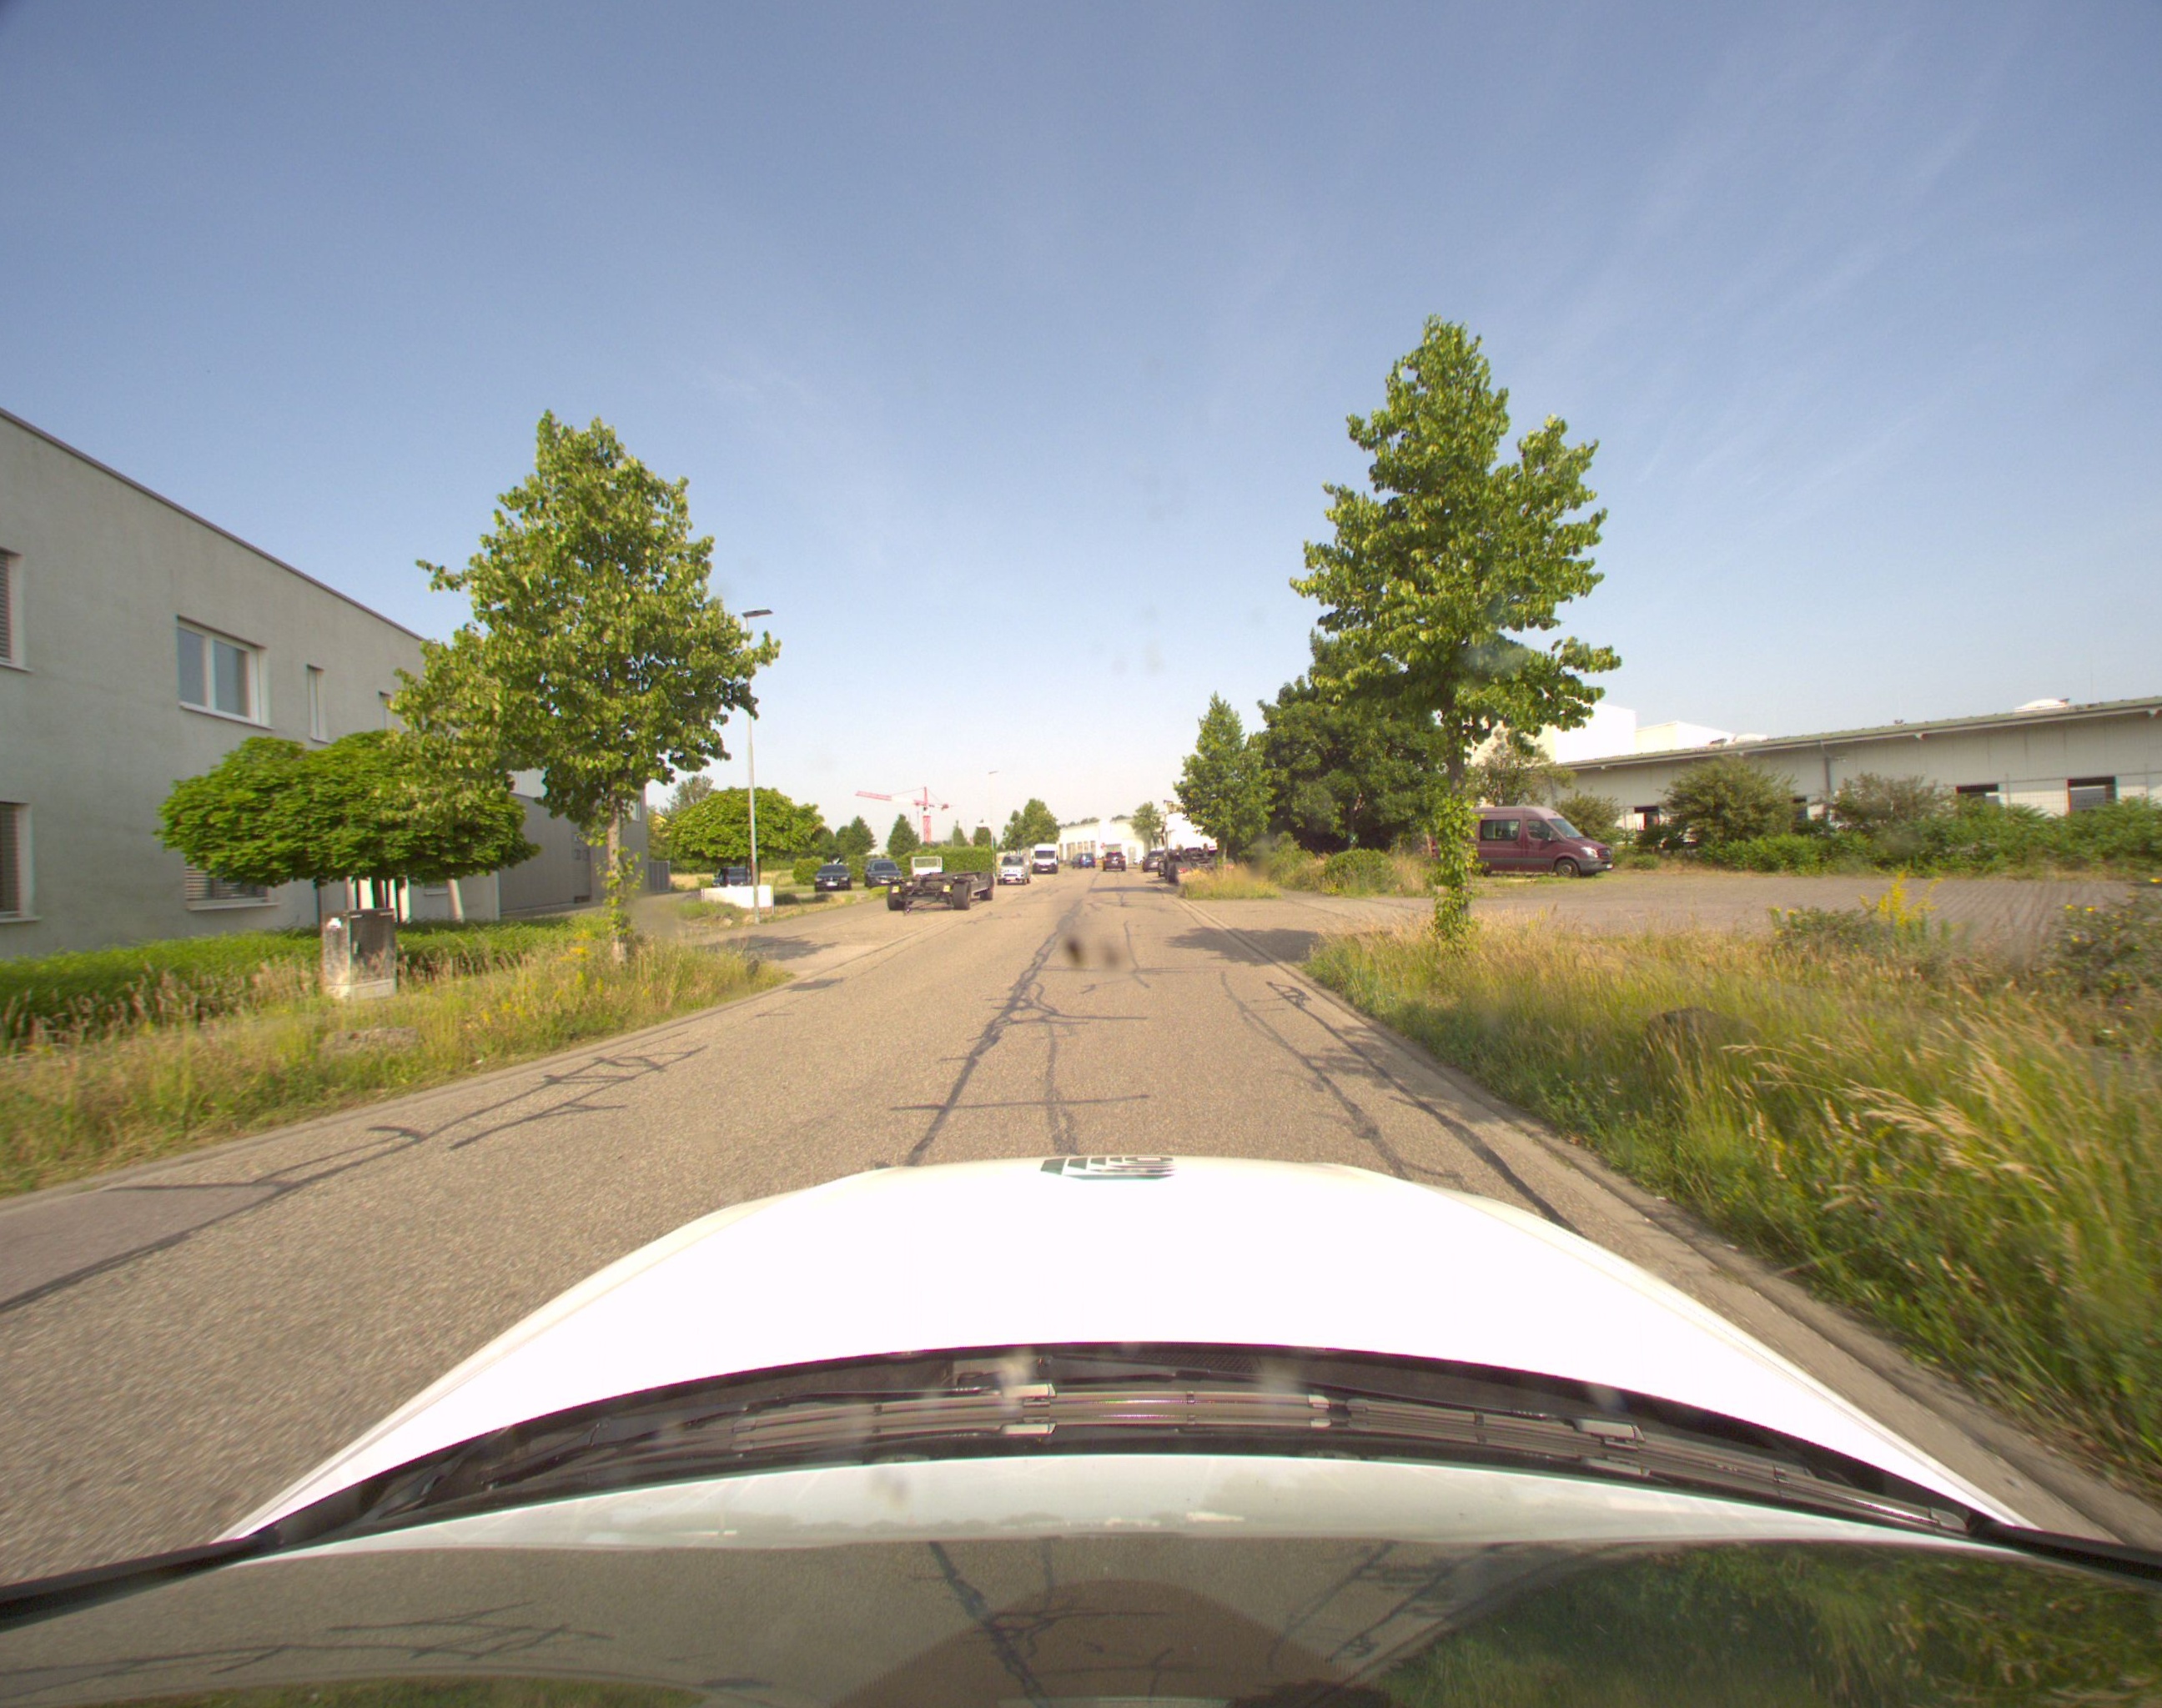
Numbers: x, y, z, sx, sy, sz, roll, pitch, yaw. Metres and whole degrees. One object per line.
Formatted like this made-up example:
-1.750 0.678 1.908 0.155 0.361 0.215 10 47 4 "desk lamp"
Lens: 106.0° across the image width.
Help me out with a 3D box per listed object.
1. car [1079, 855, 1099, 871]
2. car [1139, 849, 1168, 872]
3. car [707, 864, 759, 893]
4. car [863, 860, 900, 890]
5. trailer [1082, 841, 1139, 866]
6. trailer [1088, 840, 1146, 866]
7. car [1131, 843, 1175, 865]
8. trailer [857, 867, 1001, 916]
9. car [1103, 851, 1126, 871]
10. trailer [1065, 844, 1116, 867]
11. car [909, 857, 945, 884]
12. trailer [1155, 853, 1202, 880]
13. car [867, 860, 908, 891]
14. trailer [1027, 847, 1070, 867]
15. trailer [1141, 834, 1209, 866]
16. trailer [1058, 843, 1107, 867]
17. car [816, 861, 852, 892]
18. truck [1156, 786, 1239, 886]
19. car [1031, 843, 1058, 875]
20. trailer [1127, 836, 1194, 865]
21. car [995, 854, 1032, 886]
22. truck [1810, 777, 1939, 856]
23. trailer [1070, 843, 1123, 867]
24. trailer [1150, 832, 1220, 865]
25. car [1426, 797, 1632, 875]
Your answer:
0.846 0.986 86.380 1.962 1.574 4.113 -2 -1 0 "car"
5.418 0.484 61.211 1.873 1.574 4.115 -4 -1 2 "car"
-17.677 1.209 41.554 1.994 1.324 4.325 -2 0 -17 "car"
-11.992 1.216 48.709 1.993 1.658 4.398 -2 0 -15 "car"
4.585 -0.018 127.753 8.569 3.894 2.755 0 -1 -22 "trailer"
5.514 -0.099 124.719 8.569 3.894 2.755 0 -1 -22 "trailer"
7.875 0.013 89.383 4.595 2.110 2.128 -2 -1 0 "car"
-4.583 1.086 26.806 2.536 1.074 9.736 -1 0 2 "trailer"
2.854 0.578 69.927 1.873 1.586 4.115 -2 -1 2 "car"
1.618 0.295 137.285 8.065 3.894 2.755 0 -1 -22 "trailer"
-9.347 0.991 49.243 1.836 1.572 3.797 0 -1 -15 "car"
5.290 0.634 45.037 1.931 1.235 7.455 -4 0 2 "trailer"
-10.459 1.113 43.771 1.979 1.476 4.398 -2 0 -15 "car"
-6.259 0.603 157.767 7.994 3.894 2.755 0 -1 -22 "trailer"
12.554 -0.524 108.560 8.566 3.893 2.757 -3 0 -21 "trailer"
0.336 0.201 139.963 7.994 3.894 2.755 0 -1 -22 "trailer"
-13.068 1.138 43.033 1.683 1.476 4.325 -2 0 -17 "car"
5.176 -0.754 37.188 2.683 3.964 6.047 -5 0 0 "truck"
-3.059 0.422 70.011 2.096 2.595 6.501 0 0 -1 "car"
10.971 -0.539 111.760 8.766 3.761 2.770 -1 -1 -22 "trailer"
-3.742 0.869 45.714 1.591 1.651 3.646 -2 0 2 "car"
33.270 -1.436 34.012 8.803 2.840 2.758 -1 -1 -39 "truck"
2.551 0.155 133.425 8.340 3.894 2.755 0 -1 -22 "trailer"
13.480 -0.677 105.511 8.564 3.894 2.757 -2 -3 -20 "trailer"
16.004 -0.561 29.434 2.588 2.525 5.978 1 -1 -39 "car"
